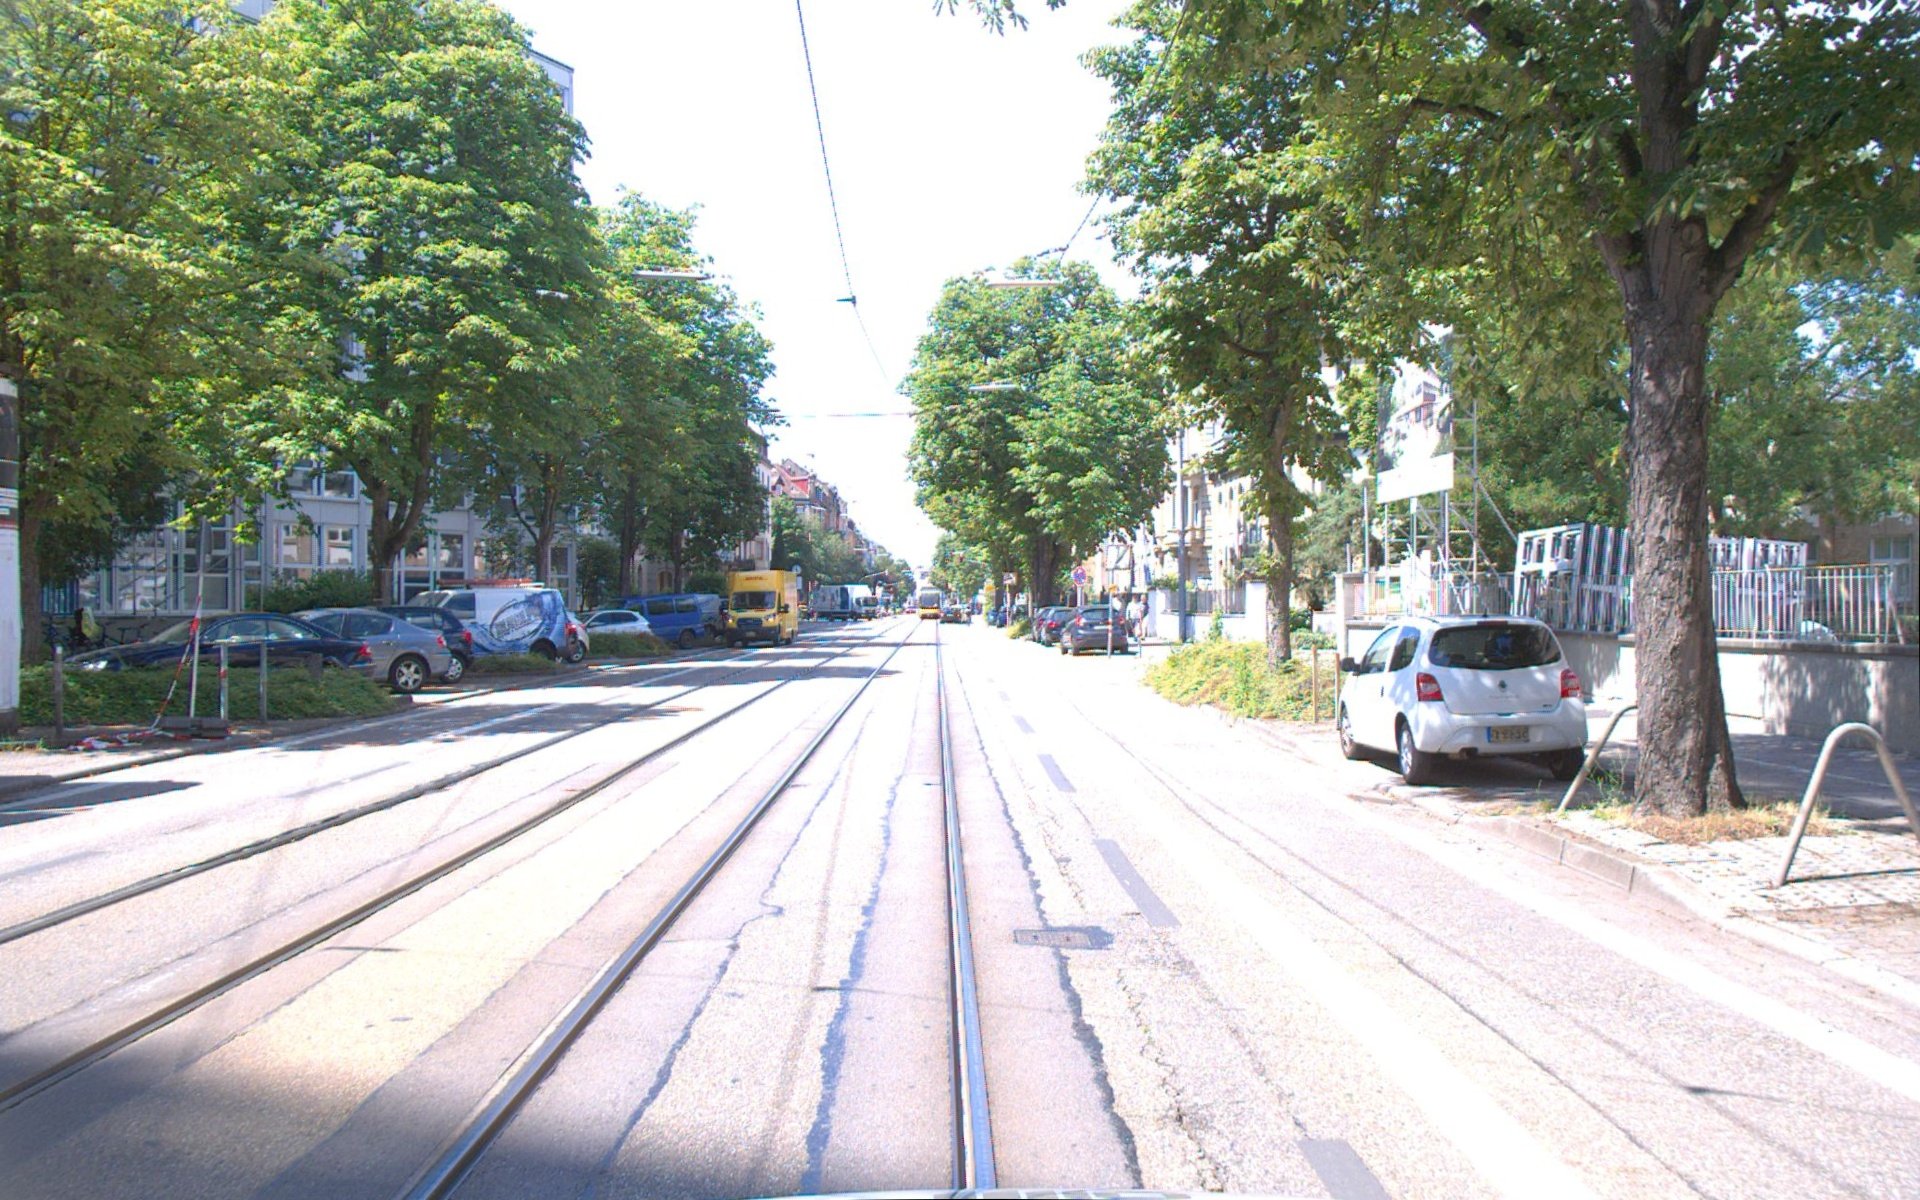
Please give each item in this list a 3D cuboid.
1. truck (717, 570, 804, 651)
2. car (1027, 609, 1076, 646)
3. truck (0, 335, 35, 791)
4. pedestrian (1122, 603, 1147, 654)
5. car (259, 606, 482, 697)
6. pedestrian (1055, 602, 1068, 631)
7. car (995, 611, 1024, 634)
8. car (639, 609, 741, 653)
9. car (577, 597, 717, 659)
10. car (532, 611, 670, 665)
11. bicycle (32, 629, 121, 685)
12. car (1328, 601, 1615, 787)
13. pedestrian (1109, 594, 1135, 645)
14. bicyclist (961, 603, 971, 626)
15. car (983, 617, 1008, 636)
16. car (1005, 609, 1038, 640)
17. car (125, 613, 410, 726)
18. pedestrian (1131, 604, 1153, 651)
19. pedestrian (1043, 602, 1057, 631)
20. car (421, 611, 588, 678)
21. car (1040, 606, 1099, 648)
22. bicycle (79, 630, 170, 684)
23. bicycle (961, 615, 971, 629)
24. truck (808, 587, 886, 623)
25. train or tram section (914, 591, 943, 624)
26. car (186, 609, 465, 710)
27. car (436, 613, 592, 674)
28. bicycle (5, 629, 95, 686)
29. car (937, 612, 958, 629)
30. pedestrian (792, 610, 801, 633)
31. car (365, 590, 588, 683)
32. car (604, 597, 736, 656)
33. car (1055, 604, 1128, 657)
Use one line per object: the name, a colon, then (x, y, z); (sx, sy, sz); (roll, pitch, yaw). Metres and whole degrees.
truck: (-7.612, 0.391, 63.939); (2.312, 2.902, 7.378); (-1, 0, 1)
car: (3.798, 1.151, 68.915); (1.676, 1.448, 4.242); (-1, -1, -2)
truck: (-10.688, -0.425, 9.471); (2.657, 3.909, 10.972); (1, -1, 13)
pedestrian: (6.507, 1.059, 61.659); (0.710, 1.892, 0.576); (-2, -1, 27)
car: (-11.286, 0.953, 31.823); (1.663, 1.571, 3.685); (-2, -1, 43)
pedestrian: (6.578, 1.079, 107.441); (0.792, 1.892, 0.623); (0, -2, -3)
car: (3.299, 1.496, 110.143); (1.676, 1.448, 4.308); (-1, -1, -2)
car: (-11.144, 1.272, 68.462); (1.717, 1.628, 3.894); (-2, 0, 43)
car: (-11.071, 0.968, 58.696); (1.815, 1.989, 4.701); (-2, 0, 43)
car: (-11.288, 1.190, 52.193); (1.730, 1.458, 3.978); (-4, -1, 41)
bicycle: (-18.561, 1.188, 34.734); (1.971, 1.094, 0.557); (1, 0, 25)
car: (4.765, 0.796, 15.934); (1.610, 1.561, 3.785); (-1, 0, 0)
pedestrian: (6.115, 0.737, 62.408); (0.792, 1.892, 0.576); (-2, -1, 27)
bicyclist: (0.441, 1.061, 120.470); (0.609, 1.644, 0.864); (1, -2, -3)
car: (2.744, 2.040, 128.381); (1.676, 1.448, 4.308); (-1, -1, -2)
car: (3.358, 1.363, 90.782); (1.560, 1.645, 3.906); (-1, -1, -2)
car: (-10.637, 1.023, 25.573); (1.731, 1.533, 3.688); (-2, -1, 41)
pedestrian: (6.934, 1.040, 63.015); (0.607, 1.768, 0.477); (-3, -1, 30)
pedestrian: (5.797, 1.067, 106.431); (0.792, 1.892, 0.623); (0, -2, -3)
car: (-11.500, 1.116, 41.906); (1.786, 1.533, 3.686); (-3, -1, 43)
car: (4.079, 1.023, 62.264); (1.838, 1.480, 4.527); (-1, -1, -1)
bicycle: (-17.970, 1.213, 35.568); (2.087, 1.094, 0.557); (1, 0, 25)
bicycle: (0.442, 1.580, 120.312); (0.626, 0.986, 1.780); (1, -2, -2)
truck: (-11.778, 0.576, 171.626); (8.291, 3.613, 2.935); (-1, 0, 39)
train or tram section: (-3.440, 0.875, 184.667); (2.973, 3.499, 11.968); (-1, 0, 0)
car: (-10.992, 0.996, 28.814); (4.169, 1.533, 1.845); (-1, -1, -43)
car: (-11.964, 1.153, 44.504); (1.732, 1.493, 3.685); (-3, -1, 43)
bicycle: (-18.804, 1.179, 34.163); (1.971, 1.094, 0.557); (1, 0, 25)
car: (-1.045, 1.709, 136.057); (1.745, 1.369, 3.415); (-1, 0, -1)
pedestrian: (-11.687, 1.523, 118.496); (0.561, 1.644, 0.816); (-1, -1, 0)
car: (-11.268, 0.826, 38.812); (1.887, 1.968, 4.730); (-3, -1, 41)
car: (-11.372, 1.023, 64.943); (4.719, 2.098, 1.997); (-2, 0, -40)
car: (3.937, 0.922, 49.899); (1.607, 1.511, 3.869); (-1, -1, -4)
